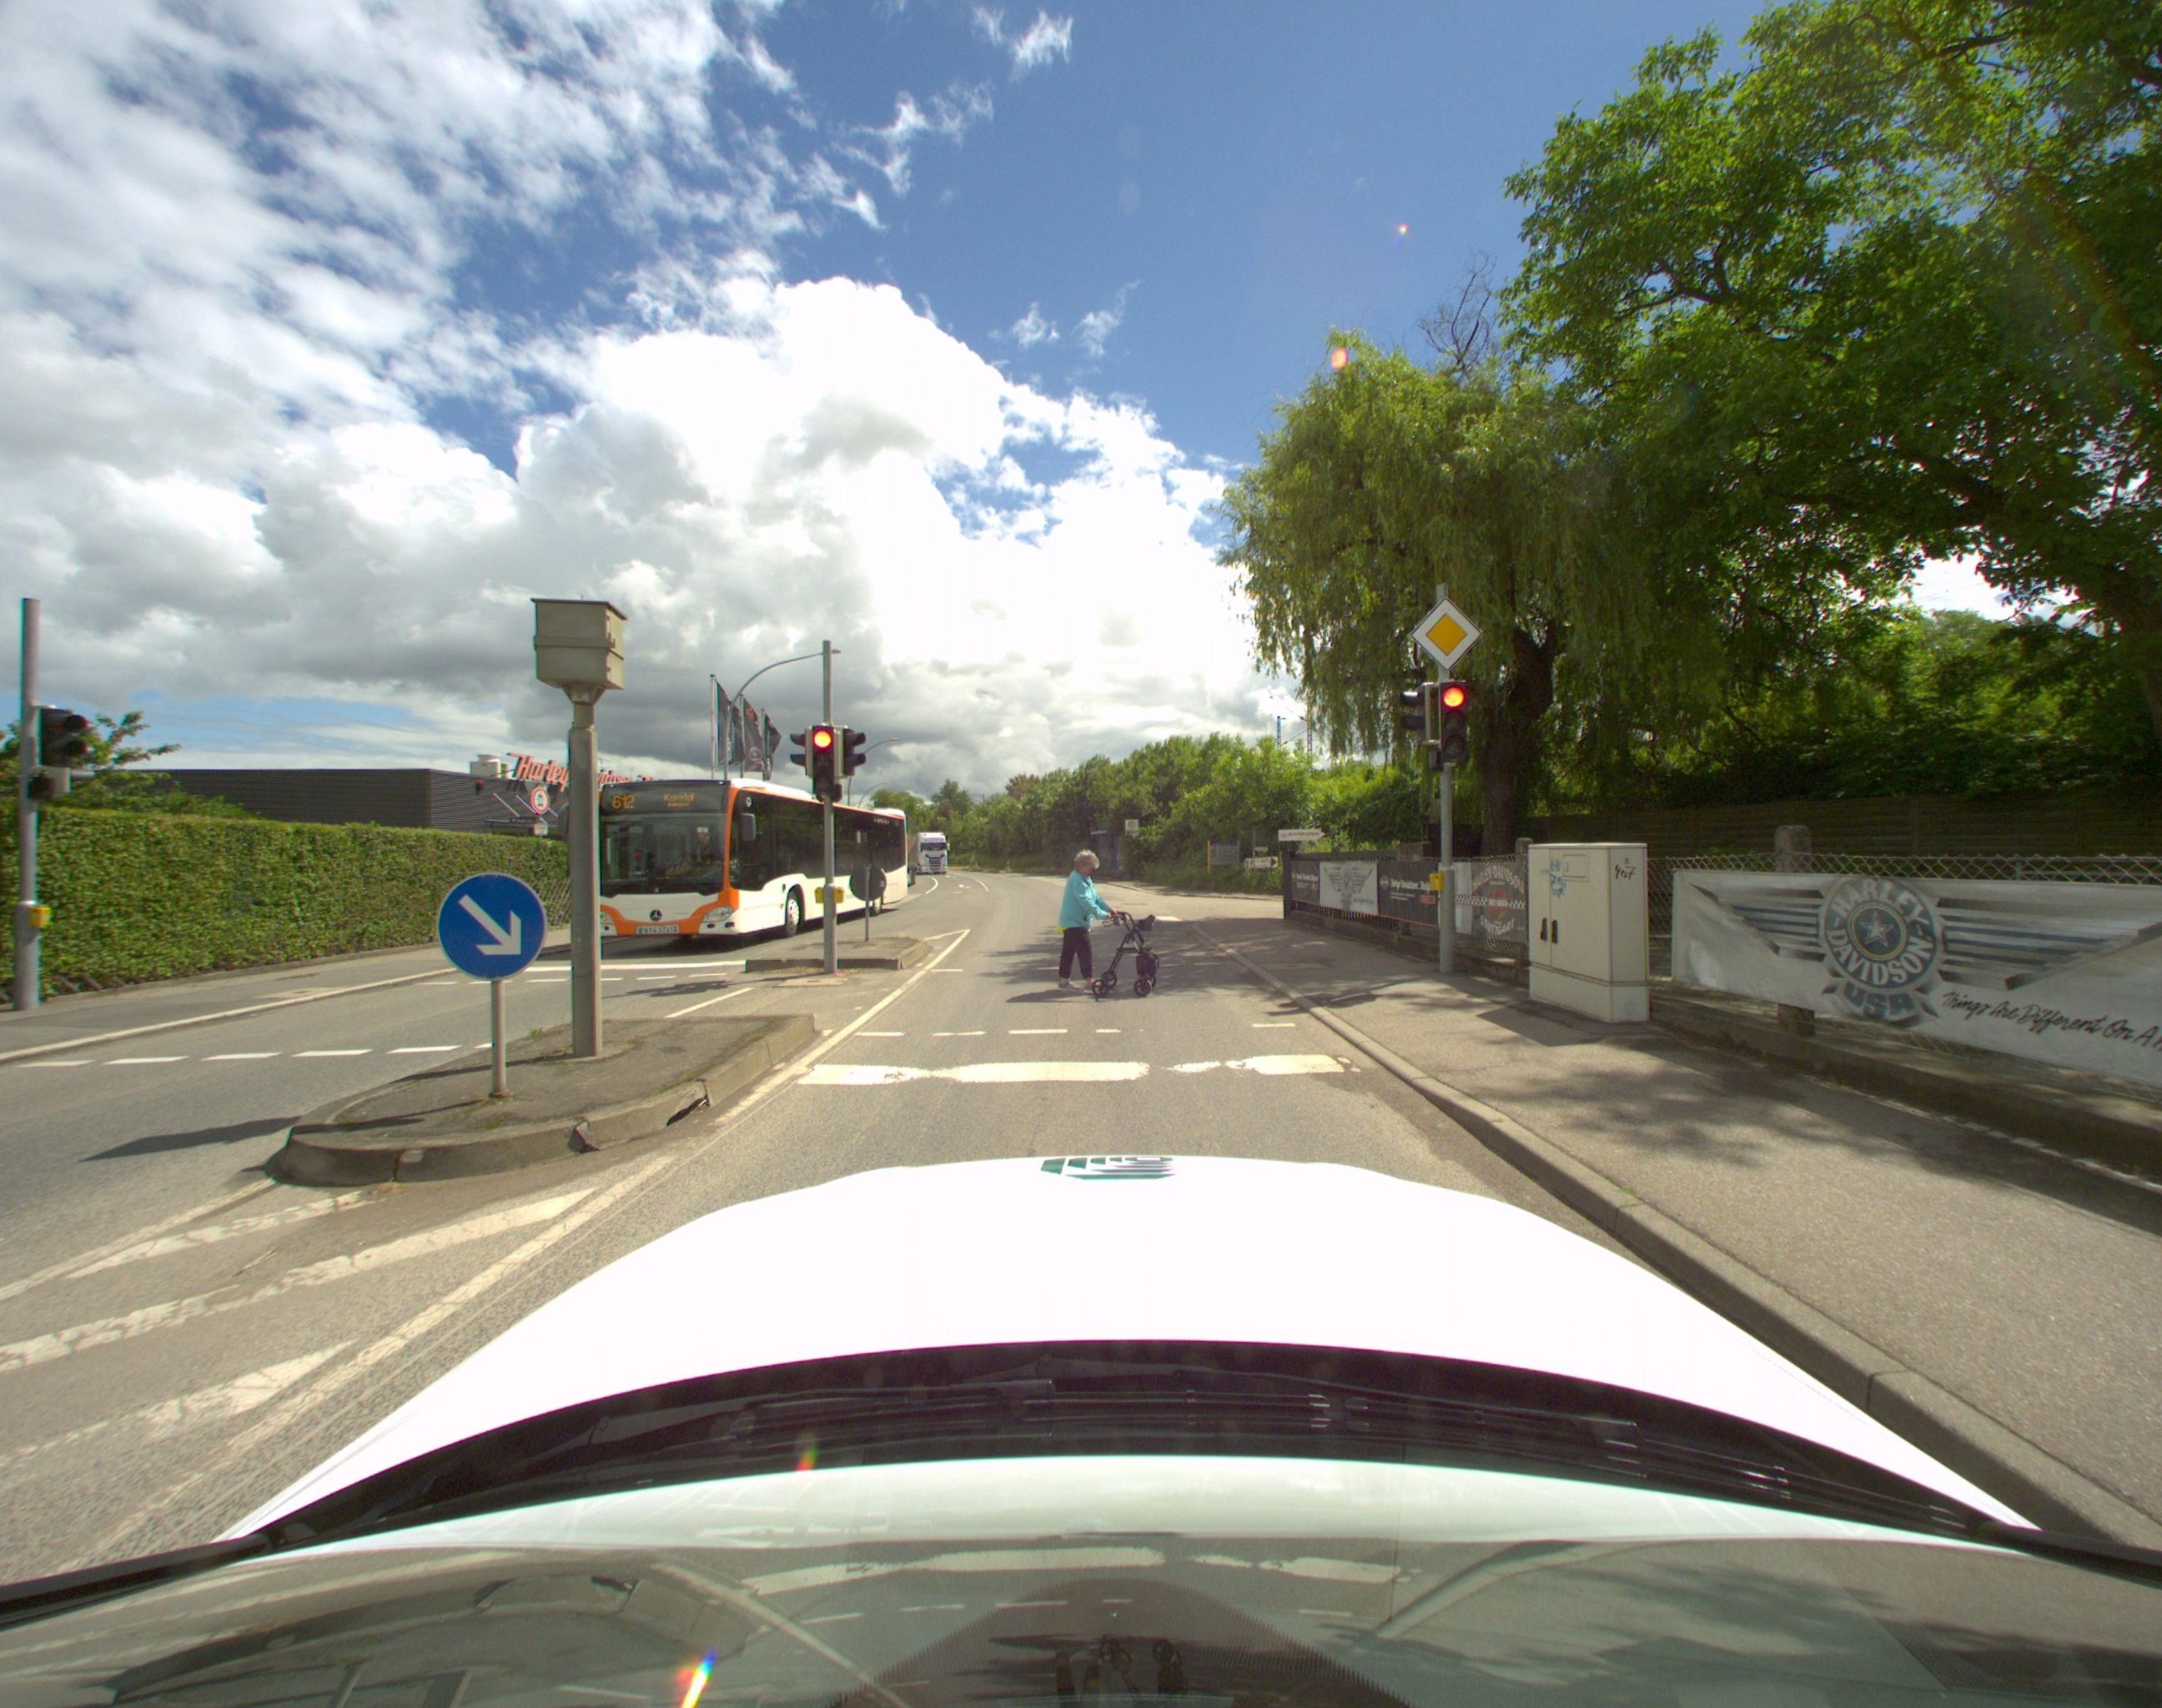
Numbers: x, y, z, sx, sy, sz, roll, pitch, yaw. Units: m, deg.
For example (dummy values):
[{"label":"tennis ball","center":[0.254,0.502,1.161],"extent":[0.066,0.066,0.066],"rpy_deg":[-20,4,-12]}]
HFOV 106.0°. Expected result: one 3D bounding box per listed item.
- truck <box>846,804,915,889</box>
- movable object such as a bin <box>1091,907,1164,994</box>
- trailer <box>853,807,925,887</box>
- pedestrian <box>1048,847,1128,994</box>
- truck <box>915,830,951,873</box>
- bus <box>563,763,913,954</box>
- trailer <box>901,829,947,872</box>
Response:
[{"label":"truck","center":[-10.312,-0.355,42.408],"extent":[2.797,4.053,6.483],"rpy_deg":[0,-1,-8]},{"label":"movable object such as a bin","center":[0.500,1.046,8.963],"extent":[0.744,0.871,0.670],"rpy_deg":[0,-1,-2]},{"label":"trailer","center":[-11.299,-0.291,49.403],"extent":[2.797,4.053,15.513],"rpy_deg":[0,0,-8]},{"label":"pedestrian","center":[0.069,0.700,8.958],"extent":[0.836,1.543,0.733],"rpy_deg":[0,-1,-2]},{"label":"truck","center":[-14.544,-0.211,79.759],"extent":[2.780,4.119,4.954],"rpy_deg":[0,-1,-19]},{"label":"bus","center":[-6.836,0.122,19.341],"extent":[2.708,3.031,12.270],"rpy_deg":[-2,-1,2]},{"label":"trailer","center":[-16.881,-0.247,86.526],"extent":[2.780,4.145,15.251],"rpy_deg":[0,-1,-19]}]
